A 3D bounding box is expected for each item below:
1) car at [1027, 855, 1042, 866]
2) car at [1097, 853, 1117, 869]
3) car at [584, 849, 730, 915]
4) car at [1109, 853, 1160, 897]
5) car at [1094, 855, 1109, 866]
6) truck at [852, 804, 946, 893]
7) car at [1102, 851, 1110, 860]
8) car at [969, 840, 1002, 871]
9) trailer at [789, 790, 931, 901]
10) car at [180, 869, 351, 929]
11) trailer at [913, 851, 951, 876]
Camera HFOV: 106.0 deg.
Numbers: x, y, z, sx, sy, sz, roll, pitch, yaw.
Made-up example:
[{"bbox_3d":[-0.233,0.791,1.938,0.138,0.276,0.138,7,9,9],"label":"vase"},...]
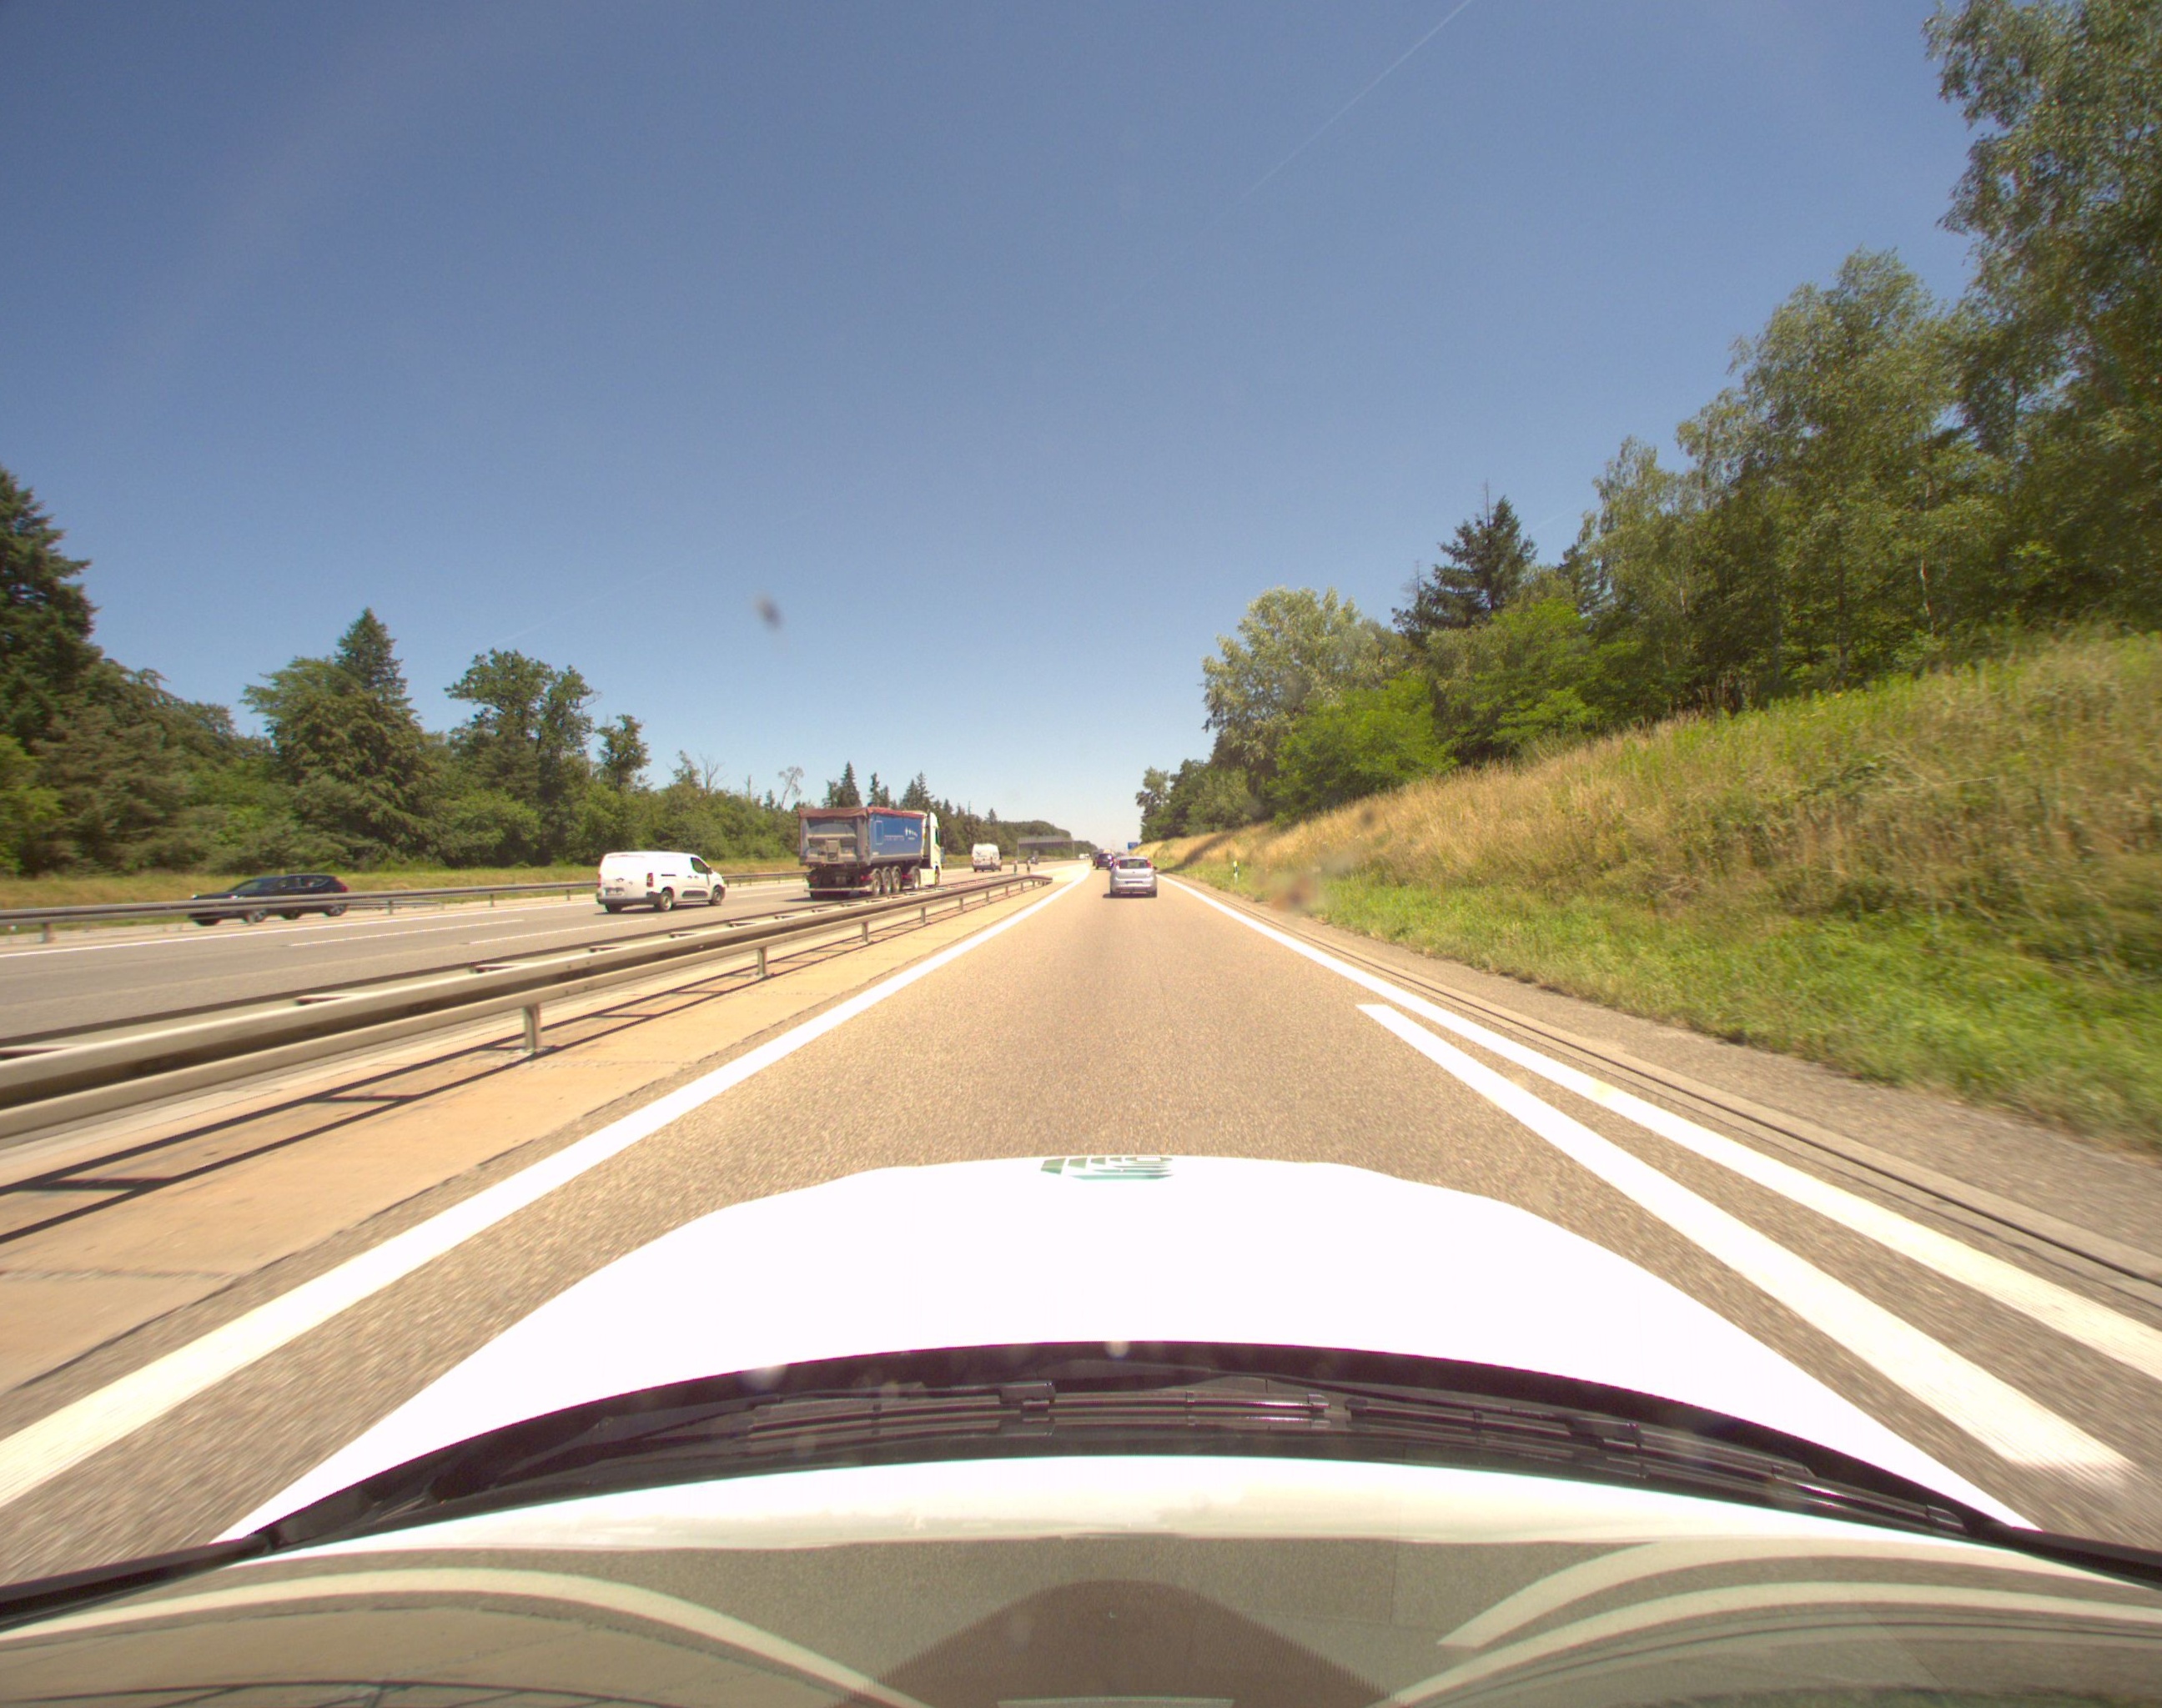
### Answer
[{"bbox_3d":[-8.261,1.184,145.427,2.149,1.814,4.862,-1,0,2],"label":"car"},{"bbox_3d":[2.813,0.743,86.512,1.823,1.672,4.006,0,-1,5],"label":"car"},{"bbox_3d":[-13.136,0.797,25.605,1.824,1.833,4.721,-2,0,4],"label":"car"},{"bbox_3d":[1.898,0.726,29.854,1.713,1.491,3.738,-1,0,2],"label":"car"},{"bbox_3d":[2.856,0.905,112.616,1.886,1.469,4.265,0,0,4],"label":"car"},{"bbox_3d":[-8.275,-0.223,37.812,2.673,3.758,5.948,-1,0,3],"label":"truck"},{"bbox_3d":[5.564,0.280,180.053,1.606,2.014,4.001,0,-1,1],"label":"car"},{"bbox_3d":[-9.586,0.170,82.292,2.250,2.951,6.118,0,-1,3],"label":"car"},{"bbox_3d":[-8.529,-0.283,32.845,2.726,3.758,9.115,-1,0,3],"label":"trailer"},{"bbox_3d":[-28.402,1.513,28.557,1.729,1.870,4.007,-1,0,6],"label":"car"},{"bbox_3d":[-26.463,1.662,145.626,3.189,4.172,13.995,-3,-1,3],"label":"trailer"}]
